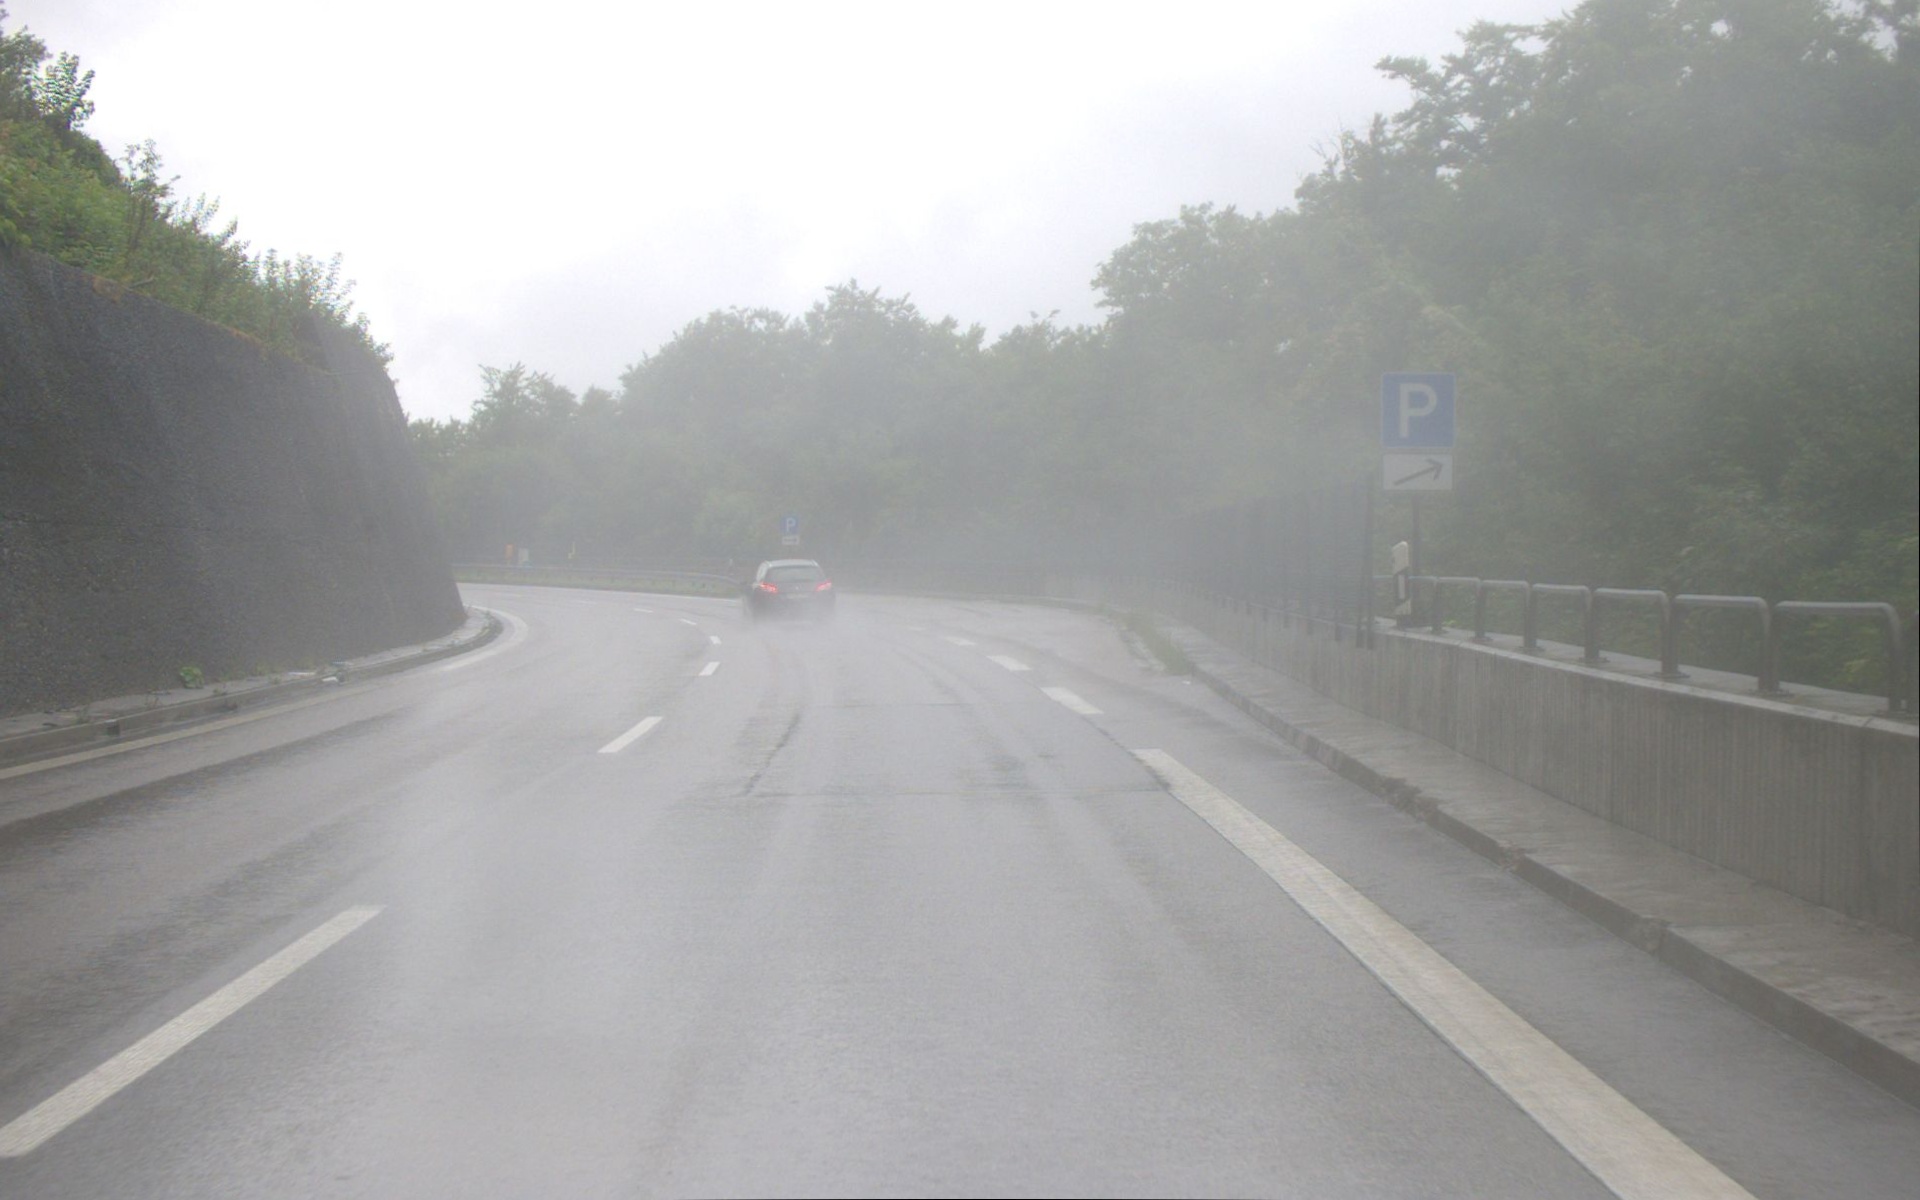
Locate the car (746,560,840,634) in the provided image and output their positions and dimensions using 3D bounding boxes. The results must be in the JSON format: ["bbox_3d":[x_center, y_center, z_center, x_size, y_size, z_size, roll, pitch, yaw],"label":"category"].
[{"bbox_3d":[-3.640,-0.067,74.516,1.903,1.494,4.001,2,0,-4],"label":"car"}]
